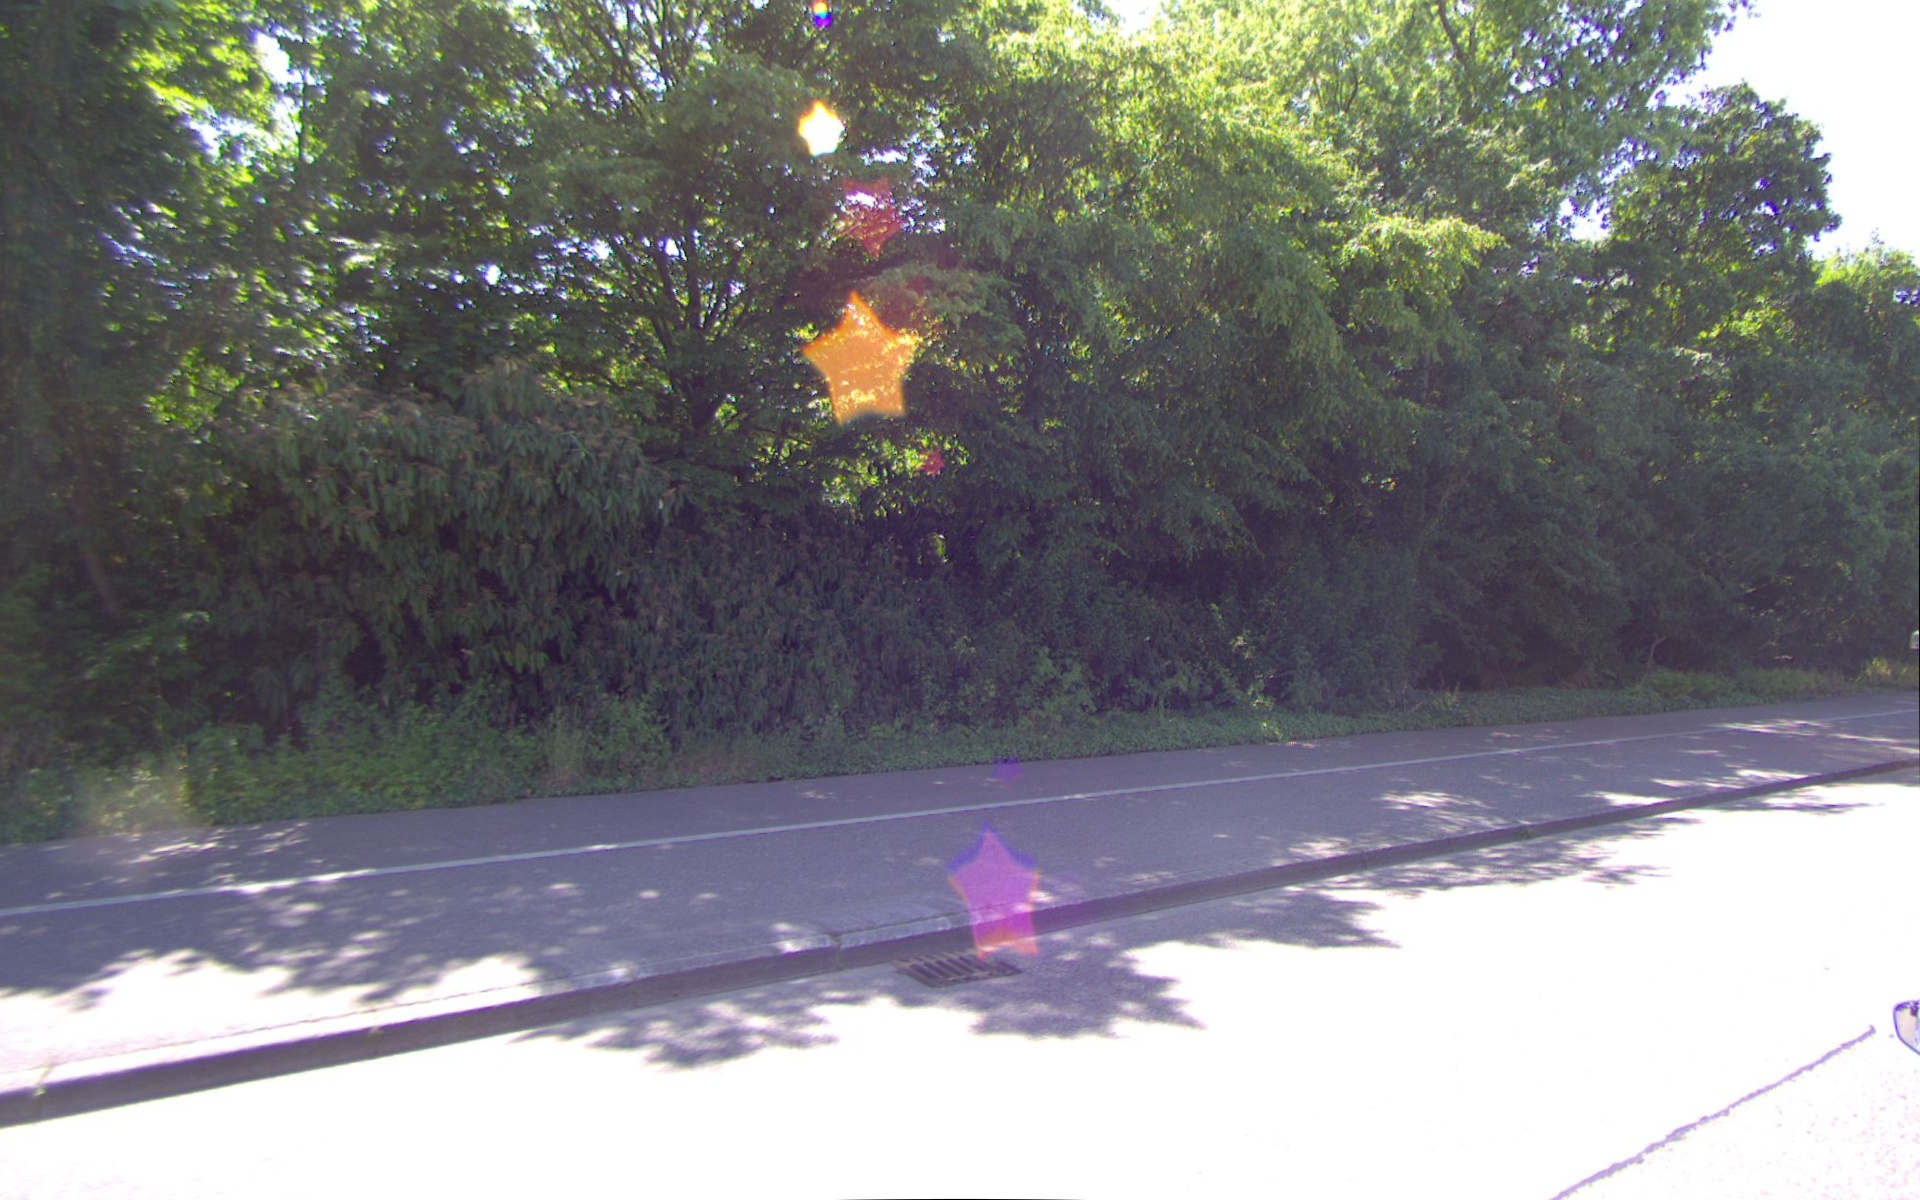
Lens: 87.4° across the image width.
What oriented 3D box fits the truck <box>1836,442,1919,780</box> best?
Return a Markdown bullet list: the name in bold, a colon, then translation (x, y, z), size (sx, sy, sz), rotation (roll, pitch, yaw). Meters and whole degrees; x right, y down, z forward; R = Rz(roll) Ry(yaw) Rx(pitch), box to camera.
- **truck**: translation (13.319, 0.093, 11.531), size (7.069, 3.484, 2.315), rotation (1, -5, -28)
